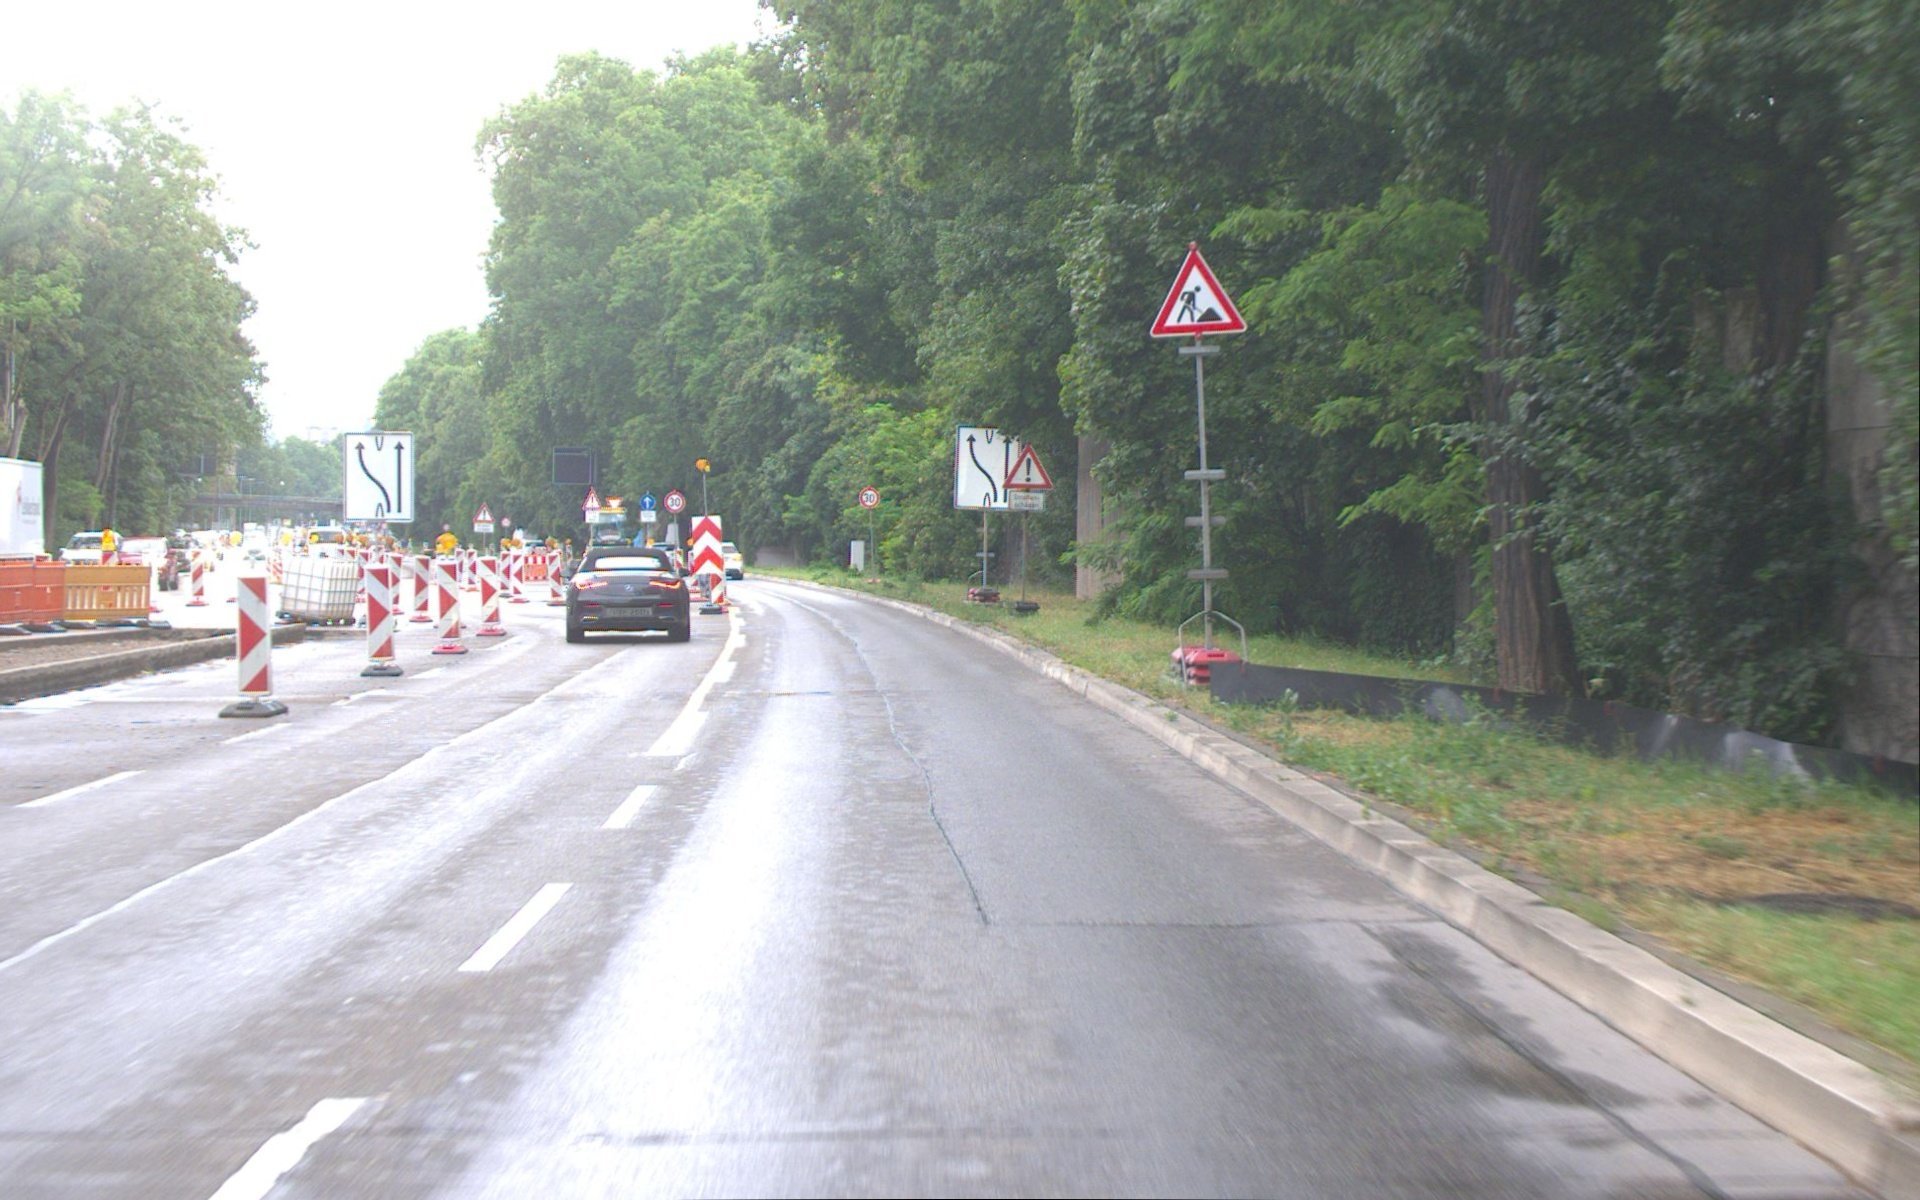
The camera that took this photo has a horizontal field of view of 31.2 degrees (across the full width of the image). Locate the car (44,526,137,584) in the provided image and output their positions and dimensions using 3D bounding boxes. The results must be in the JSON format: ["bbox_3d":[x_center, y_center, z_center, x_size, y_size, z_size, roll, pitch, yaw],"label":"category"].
[{"bbox_3d":[-28.040,-1.467,111.026,1.844,1.717,4.720,-3,1,-2],"label":"car"}]

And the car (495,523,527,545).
[{"bbox_3d":[-29.727,-4.360,227.610,1.756,1.339,4.002,1,2,-12],"label":"car"}]

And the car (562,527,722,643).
[{"bbox_3d":[-4.791,-0.259,52.269,1.862,1.486,4.001,2,3,2],"label":"car"}]

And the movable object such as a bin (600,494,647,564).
[{"bbox_3d":[-13.954,-2.954,142.437,1.746,2.857,3.535,-1,1,-8],"label":"movable object such as a bin"}]

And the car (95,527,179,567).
[{"bbox_3d":[-24.463,-1.578,102.272,1.605,1.148,4.283,0,1,-2],"label":"car"}]

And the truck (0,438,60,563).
[{"bbox_3d":[-25.525,-2.541,88.309,2.795,3.137,10.149,0,1,-4],"label":"truck"}]

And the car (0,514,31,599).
[{"bbox_3d":[-17.668,-0.756,59.800,1.856,1.481,4.679,0,1,-1],"label":"car"}]

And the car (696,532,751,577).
[{"bbox_3d":[-9.170,-1.776,133.224,1.913,1.592,4.835,1,2,-6],"label":"car"}]
